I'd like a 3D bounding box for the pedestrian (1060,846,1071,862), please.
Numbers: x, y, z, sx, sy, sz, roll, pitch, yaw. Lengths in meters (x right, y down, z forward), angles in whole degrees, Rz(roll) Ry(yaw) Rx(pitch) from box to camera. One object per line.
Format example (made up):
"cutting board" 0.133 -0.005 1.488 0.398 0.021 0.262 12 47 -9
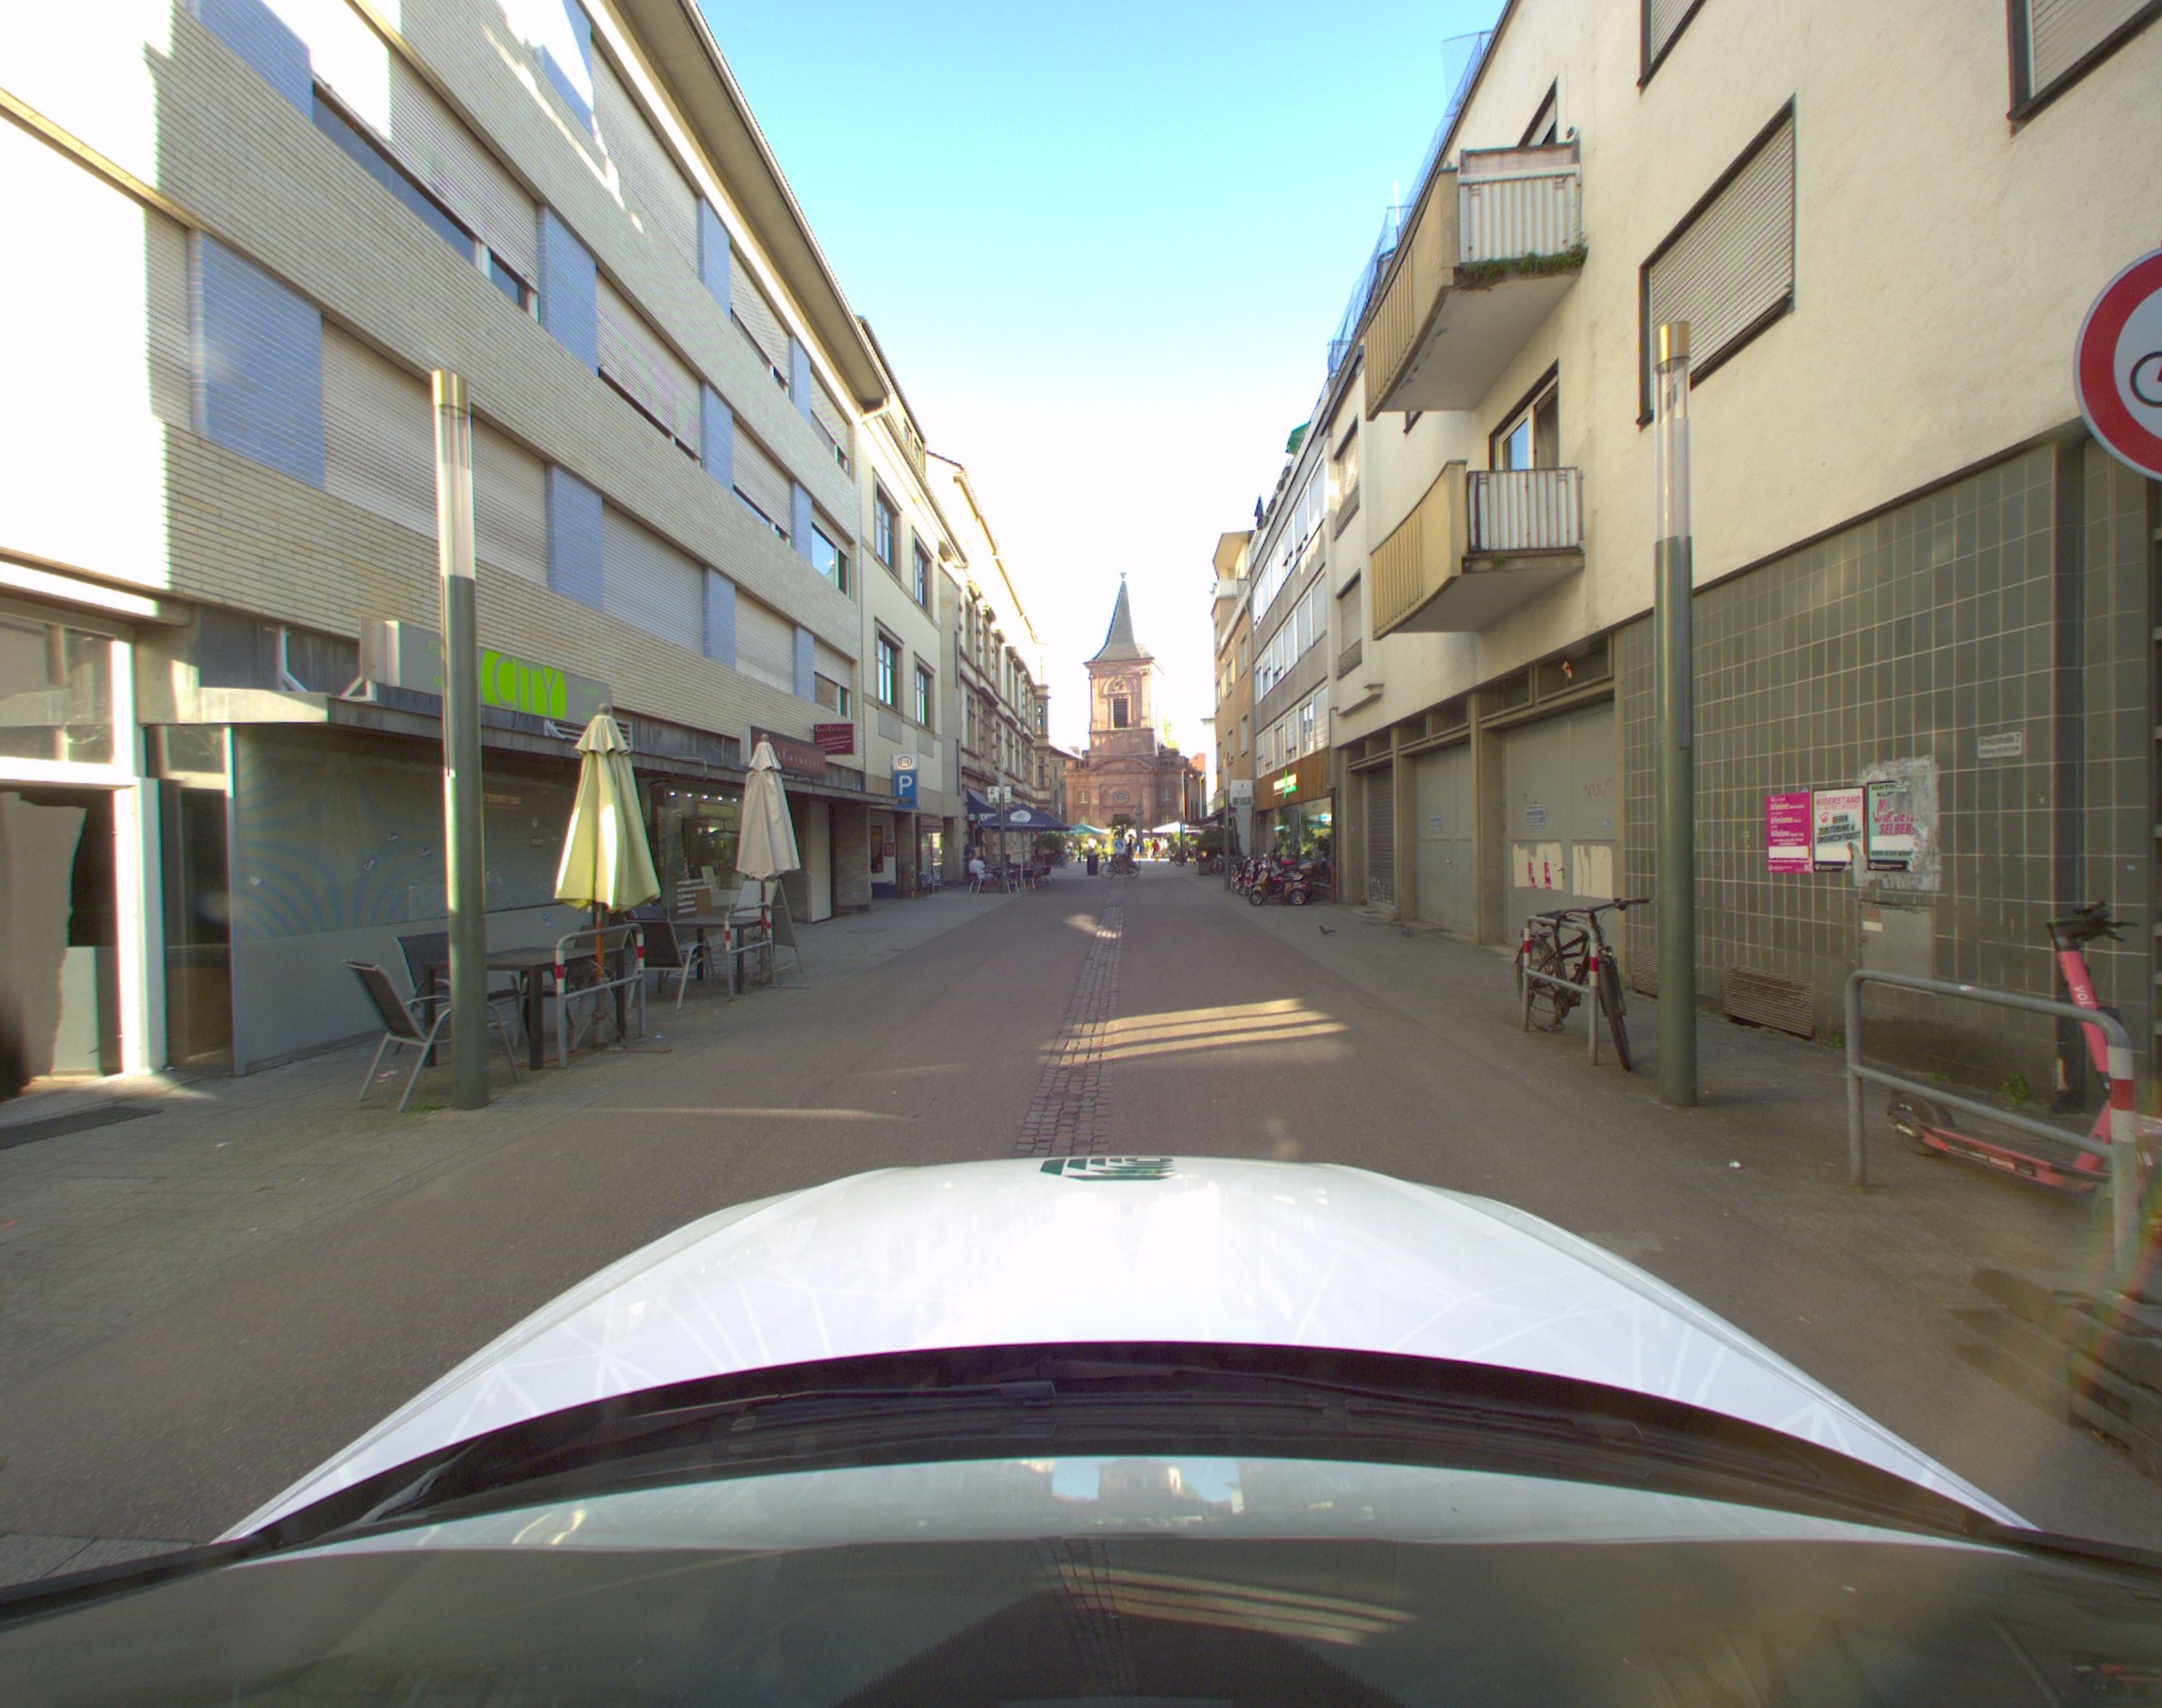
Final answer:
"pedestrian" -1.201 0.002 63.749 0.696 1.218 0.721 -1 0 9

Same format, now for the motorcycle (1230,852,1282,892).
"motorcycle" 5.264 0.546 24.489 1.472 1.181 0.414 -2 0 18

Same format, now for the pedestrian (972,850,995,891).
"pedestrian" -3.365 0.554 28.042 0.717 1.368 0.708 -1 1 -9

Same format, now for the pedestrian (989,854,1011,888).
"pedestrian" -2.955 0.615 29.833 0.763 1.233 0.830 -1 1 -5

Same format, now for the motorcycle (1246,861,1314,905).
"motorcycle" 4.868 0.716 19.934 1.550 1.041 0.374 -2 0 21

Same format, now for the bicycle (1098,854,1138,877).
"bicycle" 1.680 0.527 37.481 1.818 1.005 0.381 -1 0 -1

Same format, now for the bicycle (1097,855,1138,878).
"bicycle" 1.651 0.554 37.095 1.818 1.005 0.381 -1 0 -1

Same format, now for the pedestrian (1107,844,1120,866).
"pedestrian" 2.353 0.067 58.747 0.779 1.555 0.537 -1 0 11

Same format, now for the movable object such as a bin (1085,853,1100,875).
"movable object such as a bin" 0.589 0.485 40.420 0.719 1.074 0.374 -1 0 1

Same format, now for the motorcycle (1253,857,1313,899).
"motorcycle" 5.358 0.648 21.609 1.471 1.075 0.414 -2 0 21

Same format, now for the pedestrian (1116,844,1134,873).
"pedestrian" 2.272 0.240 41.597 0.880 1.464 0.731 -1 0 3

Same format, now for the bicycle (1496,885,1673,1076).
"bicycle" 3.598 0.829 5.971 0.444 1.140 1.714 -1 -1 8

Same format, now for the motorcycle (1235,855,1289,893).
"motorcycle" 5.257 0.585 23.636 1.471 1.075 0.414 -2 0 21

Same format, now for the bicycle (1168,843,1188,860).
"bicycle" 7.460 -0.186 62.667 1.594 1.308 0.362 -1 1 -26

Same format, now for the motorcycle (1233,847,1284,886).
"motorcycle" 5.572 0.408 25.558 1.472 1.181 0.414 -2 0 18

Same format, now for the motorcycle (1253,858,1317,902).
"motorcycle" 5.167 0.657 20.647 1.503 1.075 0.414 -2 0 21

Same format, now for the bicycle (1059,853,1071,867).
"bicycle" -0.978 0.357 49.608 0.454 0.850 2.150 -1 1 7

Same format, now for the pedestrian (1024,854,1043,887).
"pedestrian" -1.775 0.610 30.425 0.691 1.215 0.582 -1 1 -5

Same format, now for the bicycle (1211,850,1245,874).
"bicycle" 6.569 0.360 36.449 1.454 1.005 0.574 -1 0 10

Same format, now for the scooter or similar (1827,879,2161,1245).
"scooter or similar" 3.958 0.760 3.521 0.306 1.252 1.239 -1 0 0

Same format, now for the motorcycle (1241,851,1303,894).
"motorcycle" 5.366 0.523 22.872 1.611 1.175 0.483 -2 0 21

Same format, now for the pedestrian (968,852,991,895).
"pedestrian" -3.356 0.623 26.914 0.708 1.368 0.718 -1 1 -9

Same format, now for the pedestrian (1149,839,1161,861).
"pedestrian" 5.658 -0.310 62.394 0.649 1.641 0.616 -1 1 39
